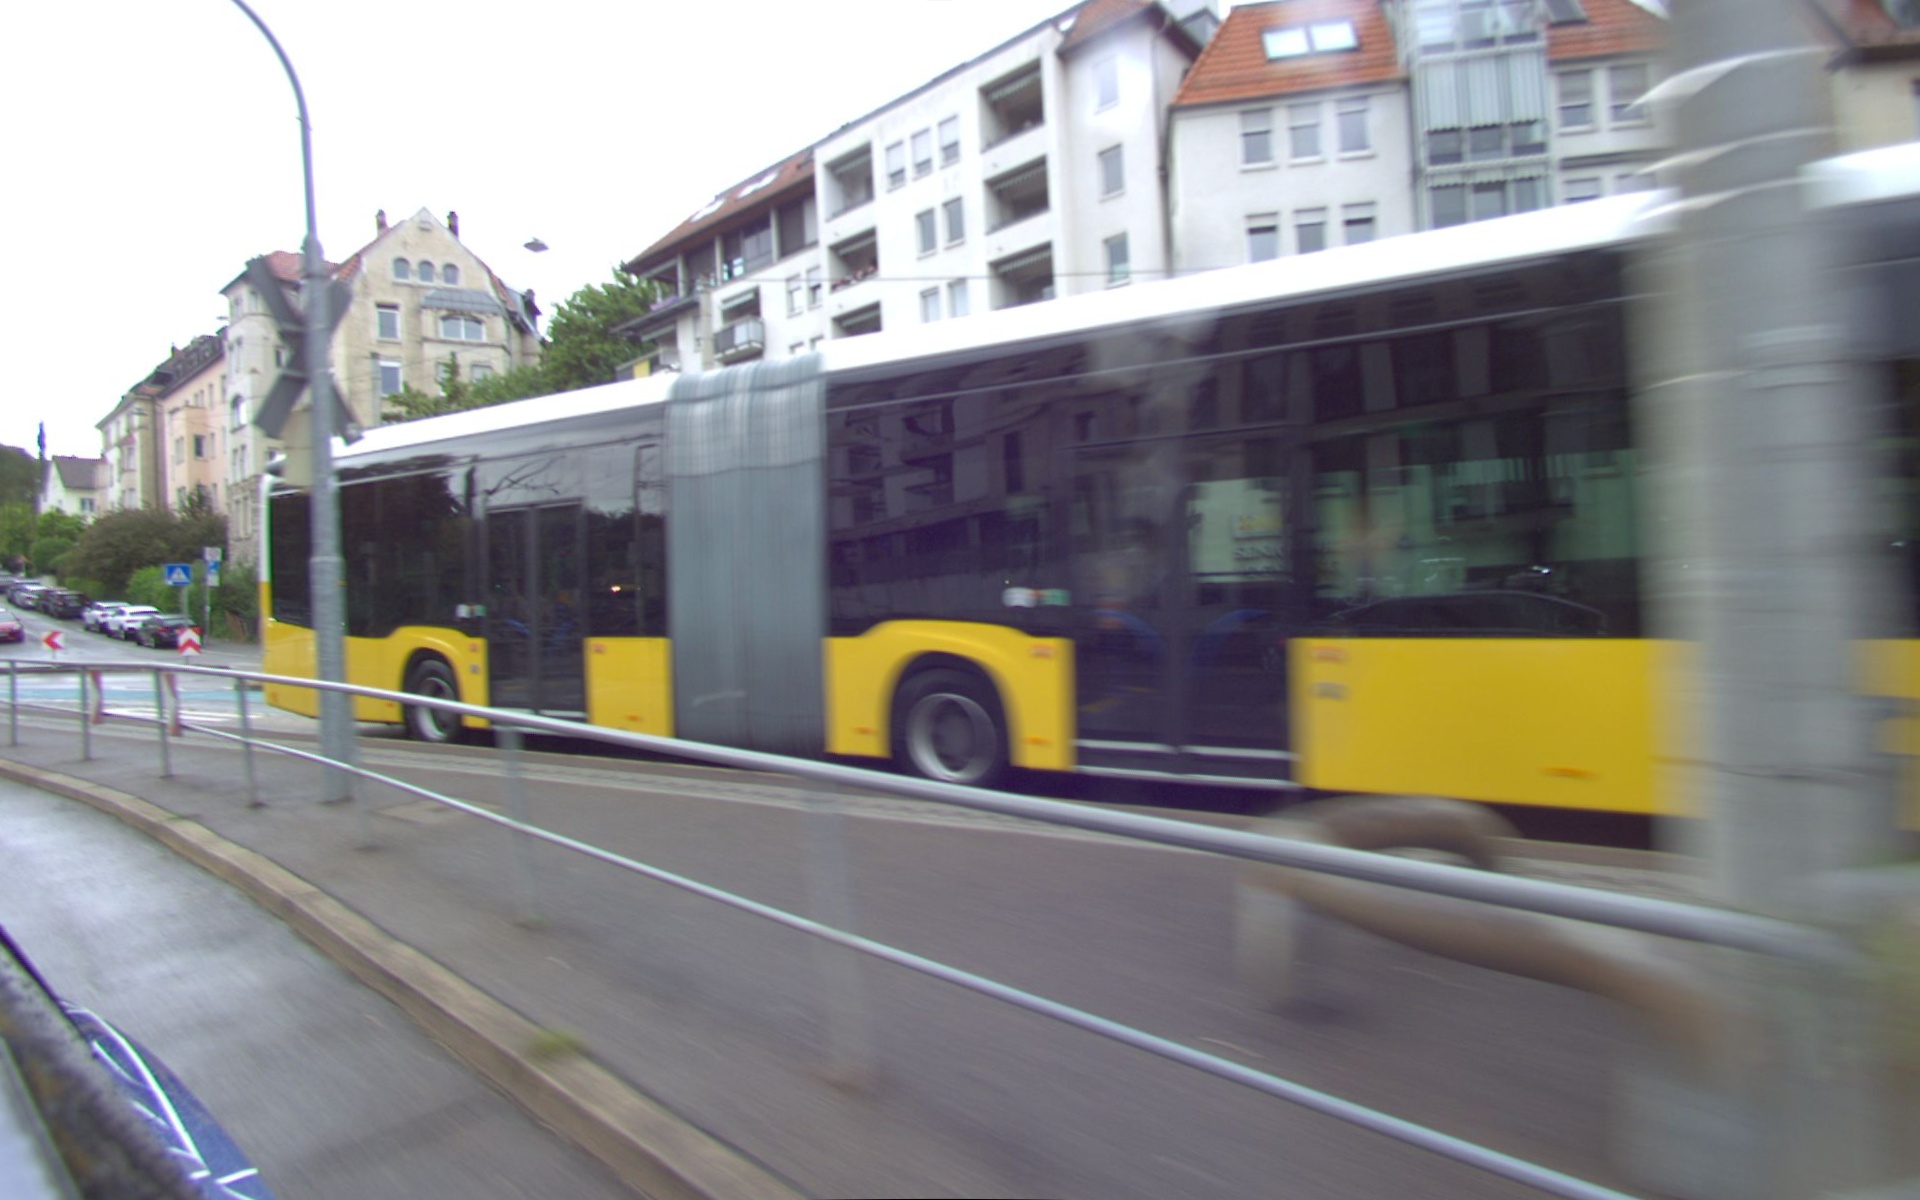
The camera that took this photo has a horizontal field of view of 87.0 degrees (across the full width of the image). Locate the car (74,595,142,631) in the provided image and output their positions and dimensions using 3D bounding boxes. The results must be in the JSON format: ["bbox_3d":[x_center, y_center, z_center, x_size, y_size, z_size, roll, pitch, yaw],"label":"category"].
[{"bbox_3d":[-45.362,0.728,53.858,4.276,1.849,1.783,-1,-2,37],"label":"car"}]

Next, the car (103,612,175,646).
[{"bbox_3d":[-40.896,1.405,50.385,4.352,1.605,1.974,0,0,39],"label":"car"}]

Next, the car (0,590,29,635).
[{"bbox_3d":[-44.910,0.596,47.119,3.999,2.029,1.972,-1,-1,42],"label":"car"}]

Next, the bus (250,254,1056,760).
[{"bbox_3d":[-3.665,-0.623,10.450,9.074,3.495,2.572,0,0,31],"label":"bus"}]

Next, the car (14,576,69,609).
[{"bbox_3d":[-56.799,-0.440,62.552,3.996,2.029,1.974,0,0,39],"label":"car"}]

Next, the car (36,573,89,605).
[{"bbox_3d":[-53.572,-0.627,60.375,3.659,1.849,1.660,-1,0,37],"label":"car"}]

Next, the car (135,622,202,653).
[{"bbox_3d":[-35.714,1.652,45.623,4.356,1.232,1.729,0,0,43],"label":"car"}]

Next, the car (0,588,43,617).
[{"bbox_3d":[-61.863,0.152,66.560,3.659,1.849,1.660,-1,0,37],"label":"car"}]
